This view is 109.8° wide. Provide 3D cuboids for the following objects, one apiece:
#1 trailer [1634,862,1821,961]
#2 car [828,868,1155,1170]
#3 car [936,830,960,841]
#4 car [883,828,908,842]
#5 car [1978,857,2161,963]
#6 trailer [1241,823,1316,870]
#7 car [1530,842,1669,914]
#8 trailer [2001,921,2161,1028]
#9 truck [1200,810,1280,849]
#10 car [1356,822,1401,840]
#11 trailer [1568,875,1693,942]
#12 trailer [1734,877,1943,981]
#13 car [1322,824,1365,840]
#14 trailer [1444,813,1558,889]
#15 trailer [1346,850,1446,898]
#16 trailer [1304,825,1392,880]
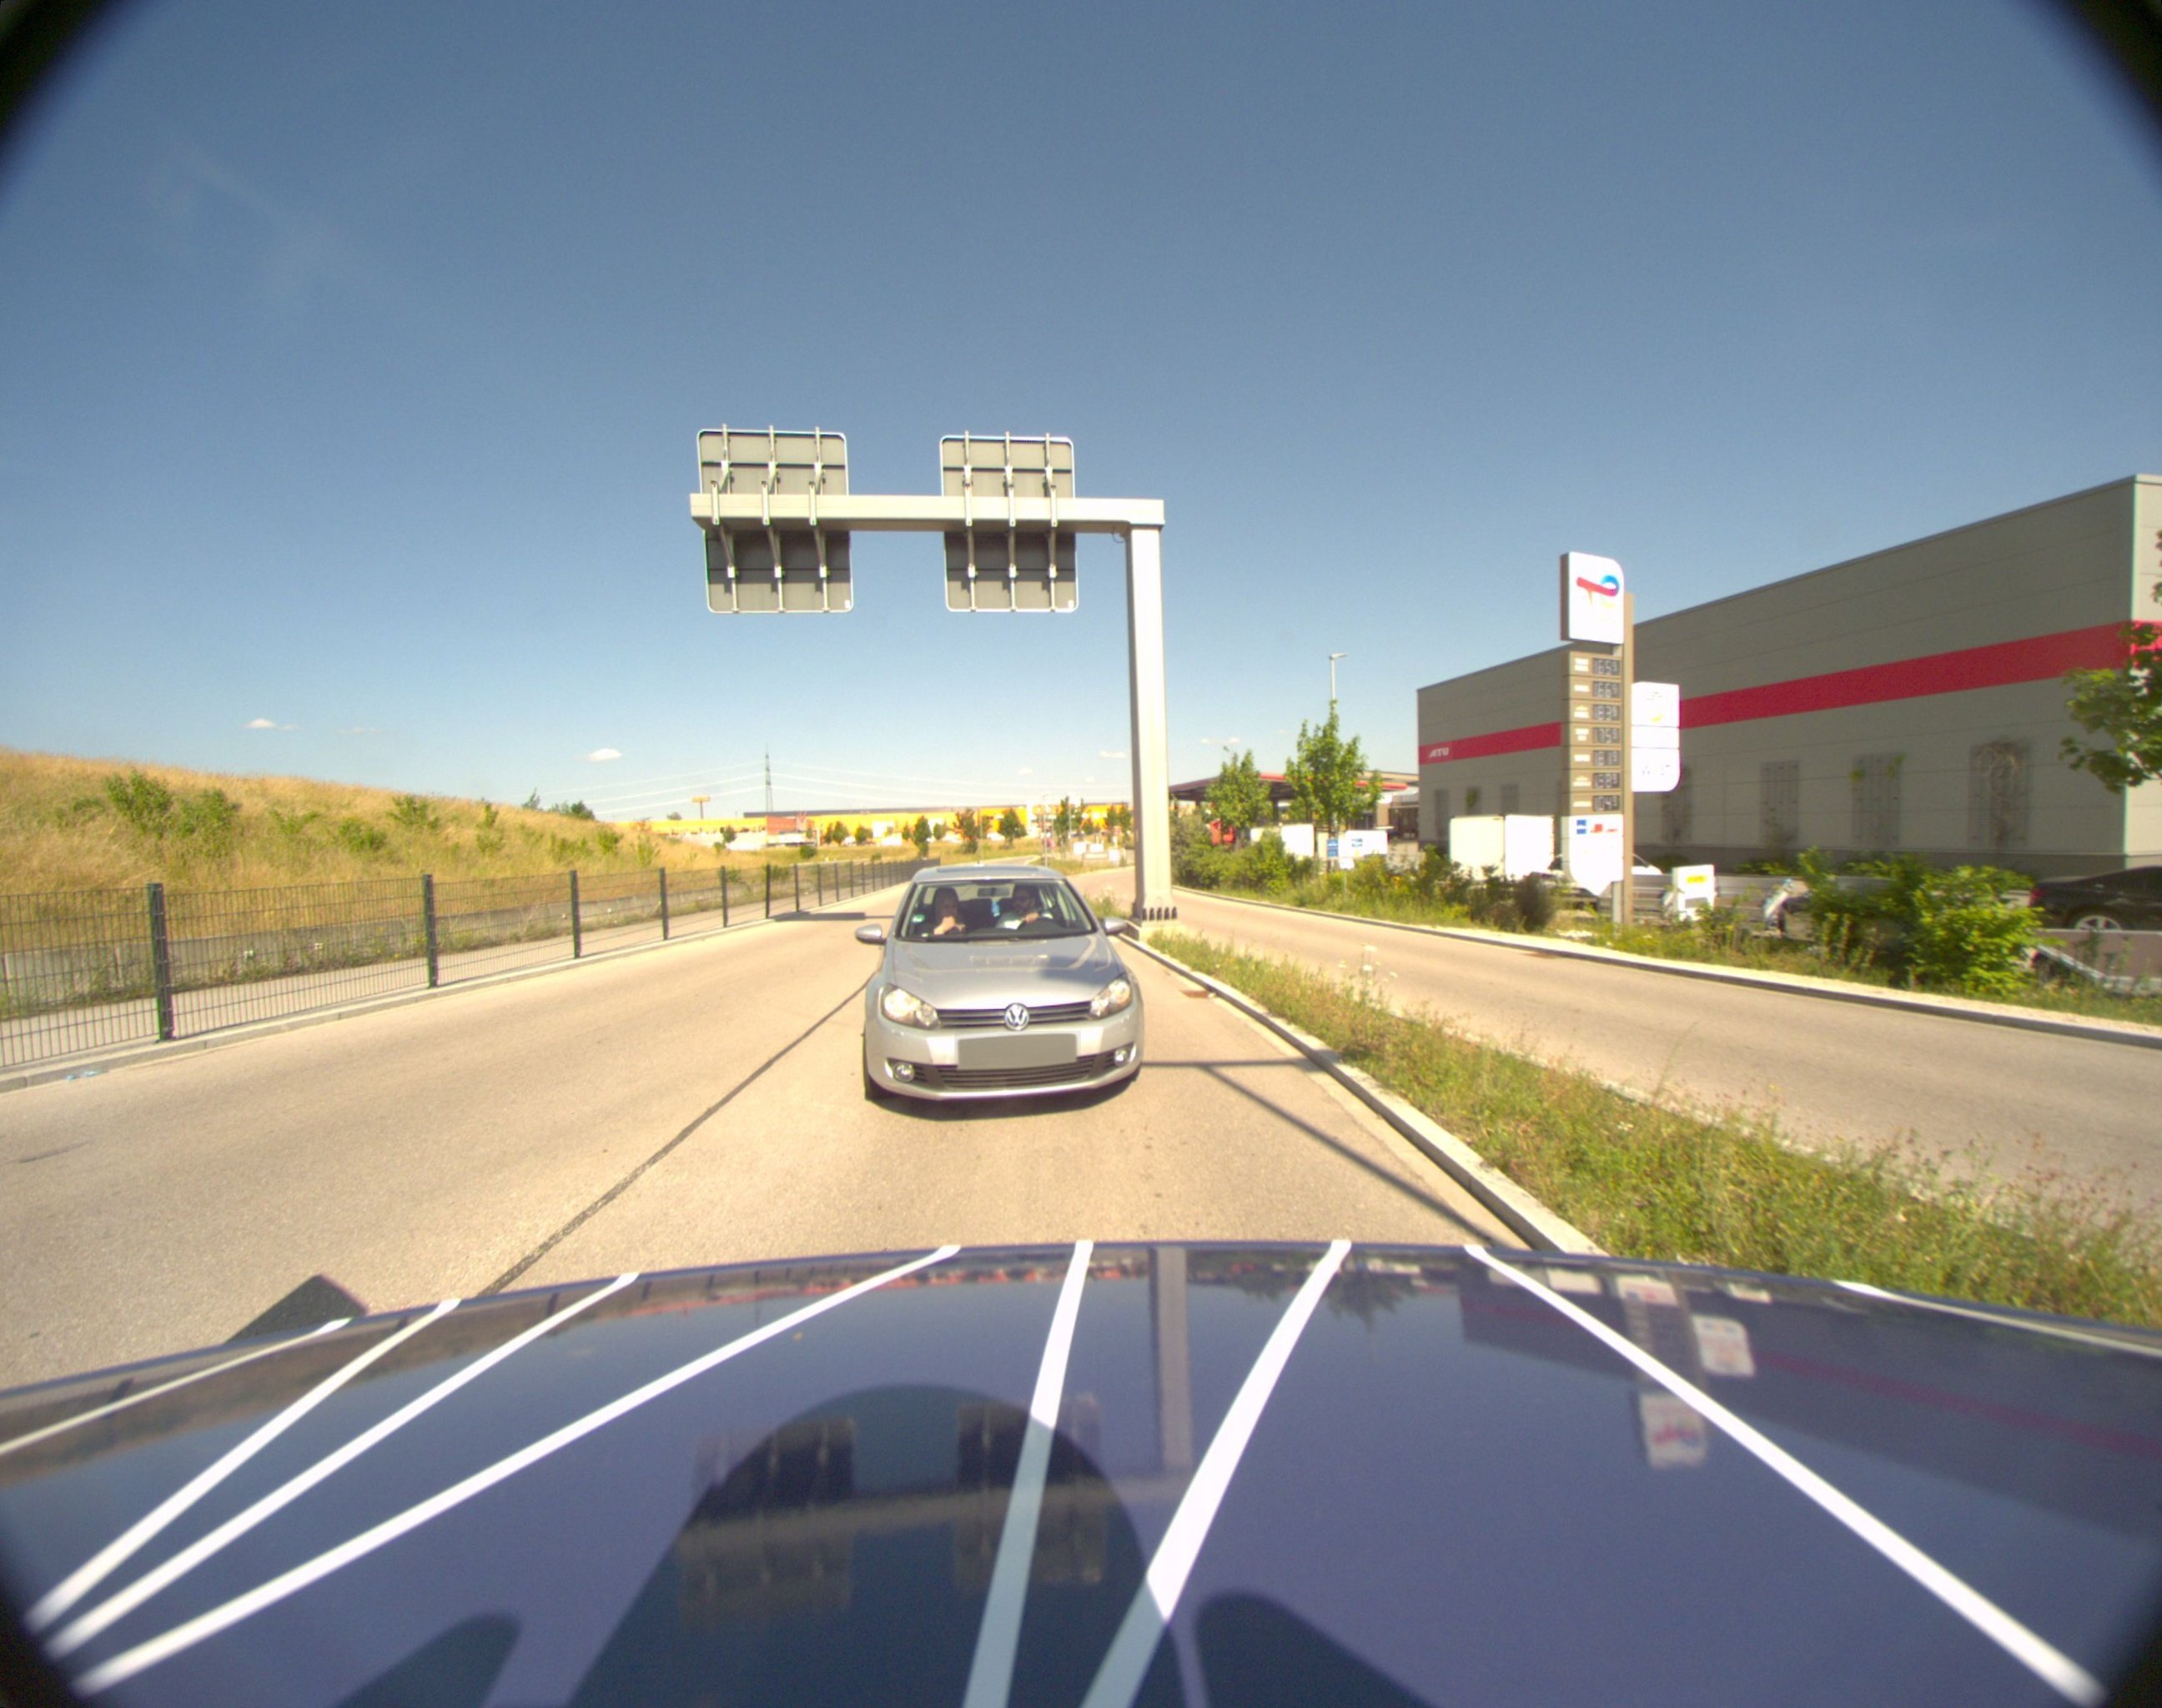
[{"bbox_3d":[11.997,0.970,14.089,3.195,1.475,1.545,-3,2,-28],"label":"trailer"},{"bbox_3d":[-0.723,0.908,6.061,1.747,1.459,3.957,0,1,-8],"label":"car"},{"bbox_3d":[-26.456,-3.768,151.451,4.637,2.002,1.998,-3,2,-11],"label":"car"},{"bbox_3d":[-36.591,-3.661,149.887,4.637,2.534,1.998,-3,2,-11],"label":"car"},{"bbox_3d":[17.114,0.858,11.394,1.803,1.475,4.494,-3,1,-6],"label":"car"},{"bbox_3d":[9.218,-0.377,35.394,1.994,2.002,3.212,-1,2,44],"label":"trailer"},{"bbox_3d":[13.529,0.560,19.742,4.006,1.527,1.714,-4,2,-36],"label":"car"},{"bbox_3d":[13.424,1.513,9.864,2.842,0.877,1.861,-4,2,-39],"label":"trailer"},{"bbox_3d":[14.995,-2.316,71.657,6.910,3.300,2.637,-3,2,-17],"label":"truck"},{"bbox_3d":[29.190,-2.274,74.648,3.683,1.566,1.695,-3,2,-1],"label":"car"},{"bbox_3d":[11.349,1.065,15.661,2.780,1.080,1.317,-4,2,-37],"label":"trailer"},{"bbox_3d":[12.315,1.144,12.355,2.915,1.314,1.387,-3,2,-22],"label":"trailer"},{"bbox_3d":[27.866,-2.328,80.702,3.936,1.566,1.794,-3,2,-10],"label":"car"},{"bbox_3d":[12.302,-0.112,22.198,3.245,2.002,1.743,-4,2,-38],"label":"trailer"},{"bbox_3d":[11.531,0.686,27.785,3.605,1.502,1.596,-4,1,-34],"label":"trailer"},{"bbox_3d":[10.637,-0.061,30.272,2.741,2.002,1.995,-4,2,-34],"label":"trailer"}]
